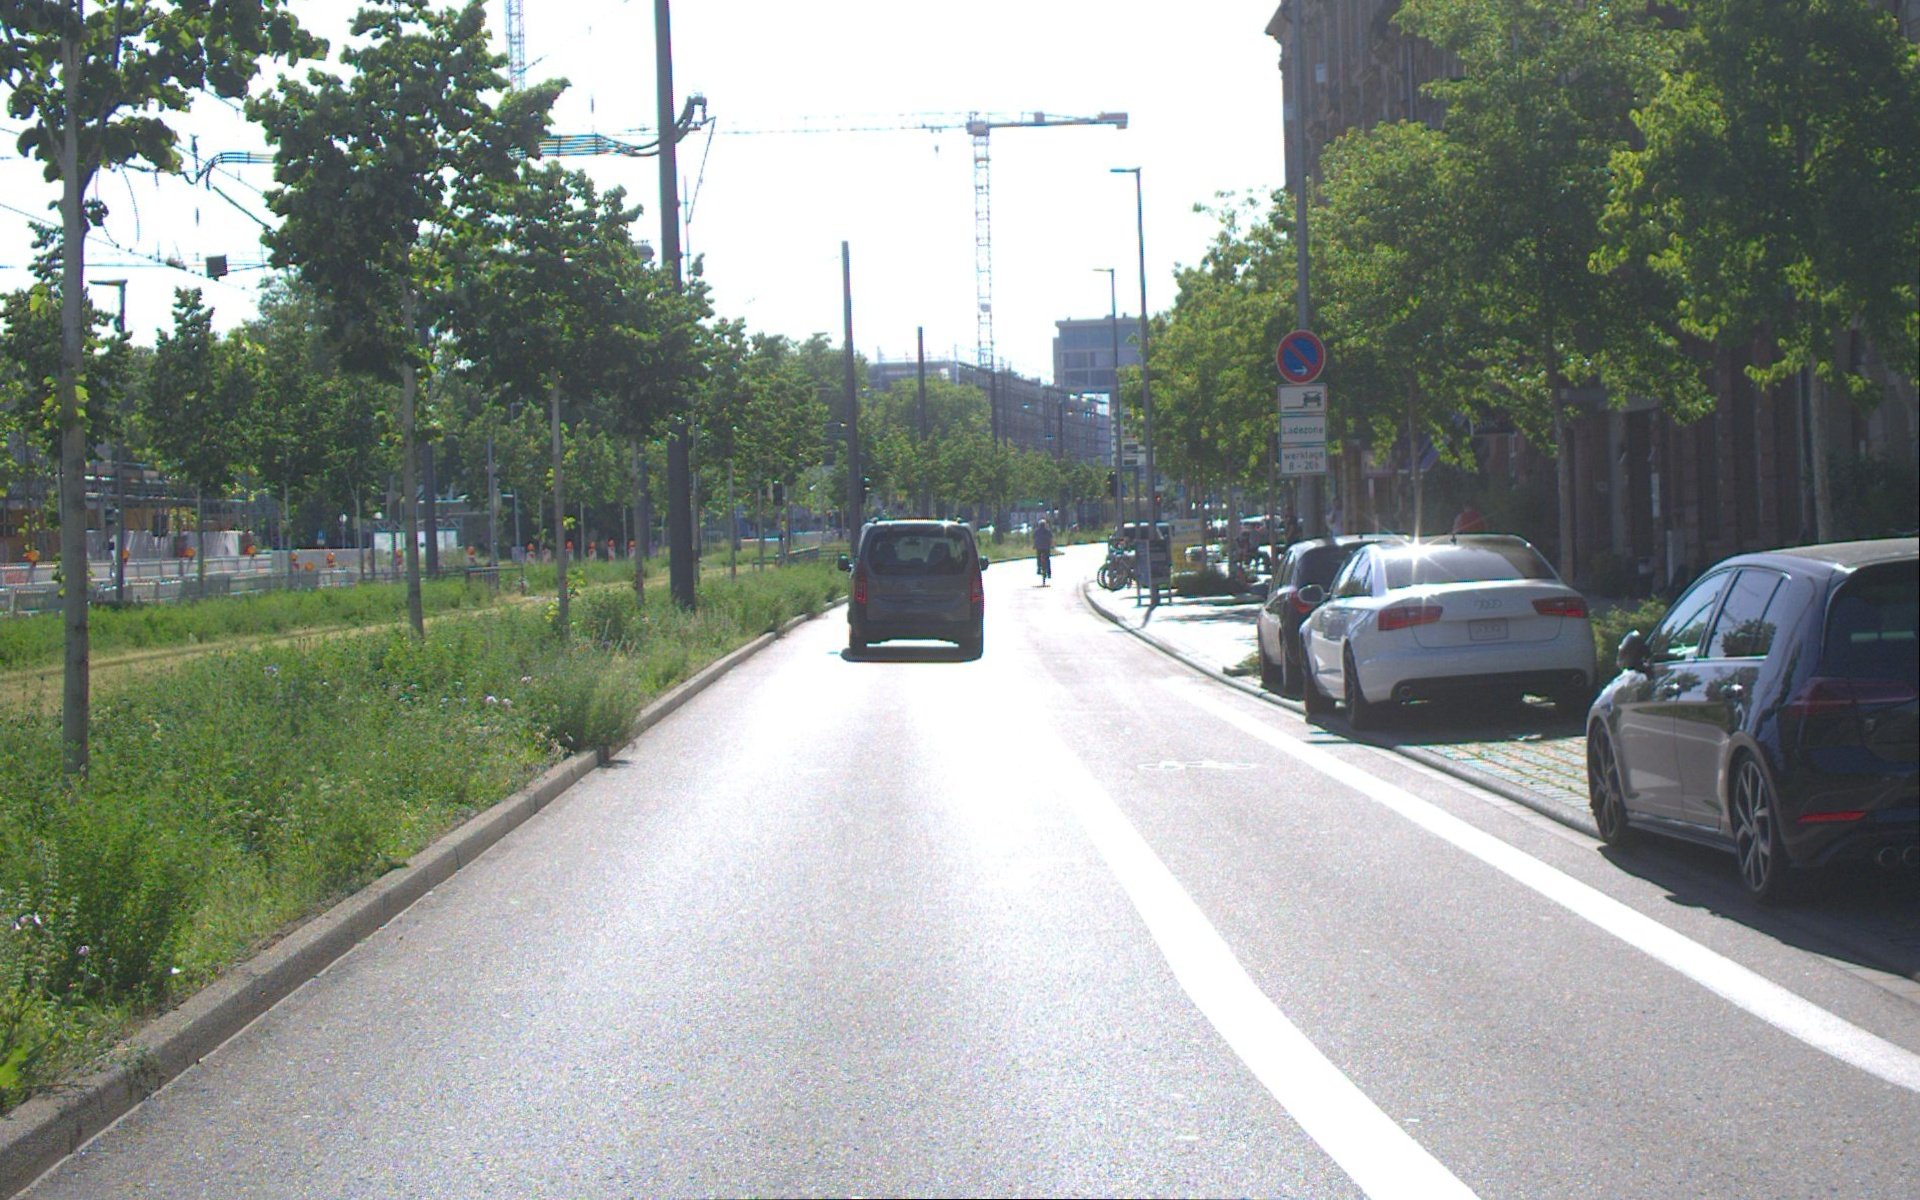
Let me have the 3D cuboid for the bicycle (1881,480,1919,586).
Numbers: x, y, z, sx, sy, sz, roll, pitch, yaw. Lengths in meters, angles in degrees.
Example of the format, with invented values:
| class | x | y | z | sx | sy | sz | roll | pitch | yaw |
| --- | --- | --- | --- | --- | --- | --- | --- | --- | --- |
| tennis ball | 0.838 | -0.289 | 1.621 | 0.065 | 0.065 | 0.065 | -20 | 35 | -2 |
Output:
| class | x | y | z | sx | sy | sz | roll | pitch | yaw |
| --- | --- | --- | --- | --- | --- | --- | --- | --- | --- |
| bicycle | 10.211 | -0.712 | 36.075 | 0.481 | 1.086 | 2.057 | -3 | 2 | 0 |

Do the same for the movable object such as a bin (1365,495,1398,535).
| class | x | y | z | sx | sy | sz | roll | pitch | yaw |
| --- | --- | --- | --- | --- | --- | --- | --- | --- | --- |
| movable object such as a bin | 9.823 | -1.985 | 80.136 | 0.604 | 0.913 | 0.650 | -2 | 2 | -5 |

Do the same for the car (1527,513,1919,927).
| class | x | y | z | sx | sy | sz | roll | pitch | yaw |
| --- | --- | --- | --- | --- | --- | --- | --- | --- | --- |
| car | 3.926 | 0.399 | 15.251 | 1.765 | 1.471 | 4.449 | -4 | 1 | -3 |

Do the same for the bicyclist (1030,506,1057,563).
| class | x | y | z | sx | sy | sz | roll | pitch | yaw |
| --- | --- | --- | --- | --- | --- | --- | --- | --- | --- |
| bicyclist | 2.311 | -1.828 | 95.646 | 0.683 | 1.579 | 0.840 | -2 | 2 | -1 |

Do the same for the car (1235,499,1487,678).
| class | x | y | z | sx | sy | sz | roll | pitch | yaw |
| --- | --- | --- | --- | --- | --- | --- | --- | --- | --- |
| car | 3.970 | -0.150 | 34.690 | 1.884 | 1.564 | 4.221 | -4 | 1 | -1 |

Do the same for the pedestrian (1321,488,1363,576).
| class | x | y | z | sx | sy | sz | roll | pitch | yaw |
| --- | --- | --- | --- | --- | --- | --- | --- | --- | --- |
| pedestrian | 8.855 | -1.571 | 79.620 | 0.817 | 2.007 | 1.046 | -1 | -1 | 0 |

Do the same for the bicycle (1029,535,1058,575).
| class | x | y | z | sx | sy | sz | roll | pitch | yaw |
| --- | --- | --- | --- | --- | --- | --- | --- | --- | --- |
| bicycle | 2.326 | -1.256 | 95.673 | 0.701 | 1.087 | 2.277 | -1 | 1 | -1 |

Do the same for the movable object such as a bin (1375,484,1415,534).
| class | x | y | z | sx | sy | sz | roll | pitch | yaw |
| --- | --- | --- | --- | --- | --- | --- | --- | --- | --- |
| movable object such as a bin | 9.756 | -2.045 | 77.067 | 0.725 | 1.094 | 0.748 | -2 | 2 | -5 |

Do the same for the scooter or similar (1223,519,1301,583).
| class | x | y | z | sx | sy | sz | roll | pitch | yaw |
| --- | --- | --- | --- | --- | --- | --- | --- | --- | --- |
| scooter or similar | 6.307 | -1.023 | 71.740 | 1.473 | 1.212 | 0.602 | -4 | 3 | -4 |

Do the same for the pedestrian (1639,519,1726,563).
| class | x | y | z | sx | sy | sz | roll | pitch | yaw |
| --- | --- | --- | --- | --- | --- | --- | --- | --- | --- |
| pedestrian | 10.190 | -0.843 | 48.559 | 0.773 | 0.551 | 2.008 | -2 | 2 | -1 |

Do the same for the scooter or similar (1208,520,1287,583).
| class | x | y | z | sx | sy | sz | roll | pitch | yaw |
| --- | --- | --- | --- | --- | --- | --- | --- | --- | --- |
| scooter or similar | 6.064 | -1.033 | 72.497 | 1.473 | 1.212 | 0.602 | -4 | 3 | -10 |

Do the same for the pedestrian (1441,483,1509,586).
| class | x | y | z | sx | sy | sz | roll | pitch | yaw |
| --- | --- | --- | --- | --- | --- | --- | --- | --- | --- |
| pedestrian | 8.747 | -1.113 | 58.446 | 0.996 | 1.725 | 0.866 | -1 | 1 | -1 |

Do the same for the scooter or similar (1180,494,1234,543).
| class | x | y | z | sx | sy | sz | roll | pitch | yaw |
| --- | --- | --- | --- | --- | --- | --- | --- | --- | --- |
| scooter or similar | 5.921 | -1.958 | 82.449 | 1.220 | 1.102 | 0.783 | -3 | 2 | 3 |

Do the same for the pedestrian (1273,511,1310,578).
| class | x | y | z | sx | sy | sz | roll | pitch | yaw |
| --- | --- | --- | --- | --- | --- | --- | --- | --- | --- |
| pedestrian | 8.849 | -1.489 | 91.837 | 0.844 | 1.736 | 0.886 | -3 | 1 | 0 |

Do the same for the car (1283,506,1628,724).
| class | x | y | z | sx | sy | sz | roll | pitch | yaw |
| --- | --- | --- | --- | --- | --- | --- | --- | --- | --- |
| car | 3.902 | 0.042 | 27.956 | 1.951 | 1.490 | 5.105 | -4 | 2 | 0 |

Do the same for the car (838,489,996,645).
| class | x | y | z | sx | sy | sz | roll | pitch | yaw |
| --- | --- | --- | --- | --- | --- | --- | --- | --- | --- |
| car | -0.623 | -0.467 | 46.702 | 1.993 | 2.007 | 4.001 | -1 | 1 | -2 |

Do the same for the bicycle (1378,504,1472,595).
| class | x | y | z | sx | sy | sz | roll | pitch | yaw |
| --- | --- | --- | --- | --- | --- | --- | --- | --- | --- |
| bicycle | 6.015 | -0.652 | 44.556 | 0.650 | 1.116 | 2.173 | -3 | 1 | -6 |
